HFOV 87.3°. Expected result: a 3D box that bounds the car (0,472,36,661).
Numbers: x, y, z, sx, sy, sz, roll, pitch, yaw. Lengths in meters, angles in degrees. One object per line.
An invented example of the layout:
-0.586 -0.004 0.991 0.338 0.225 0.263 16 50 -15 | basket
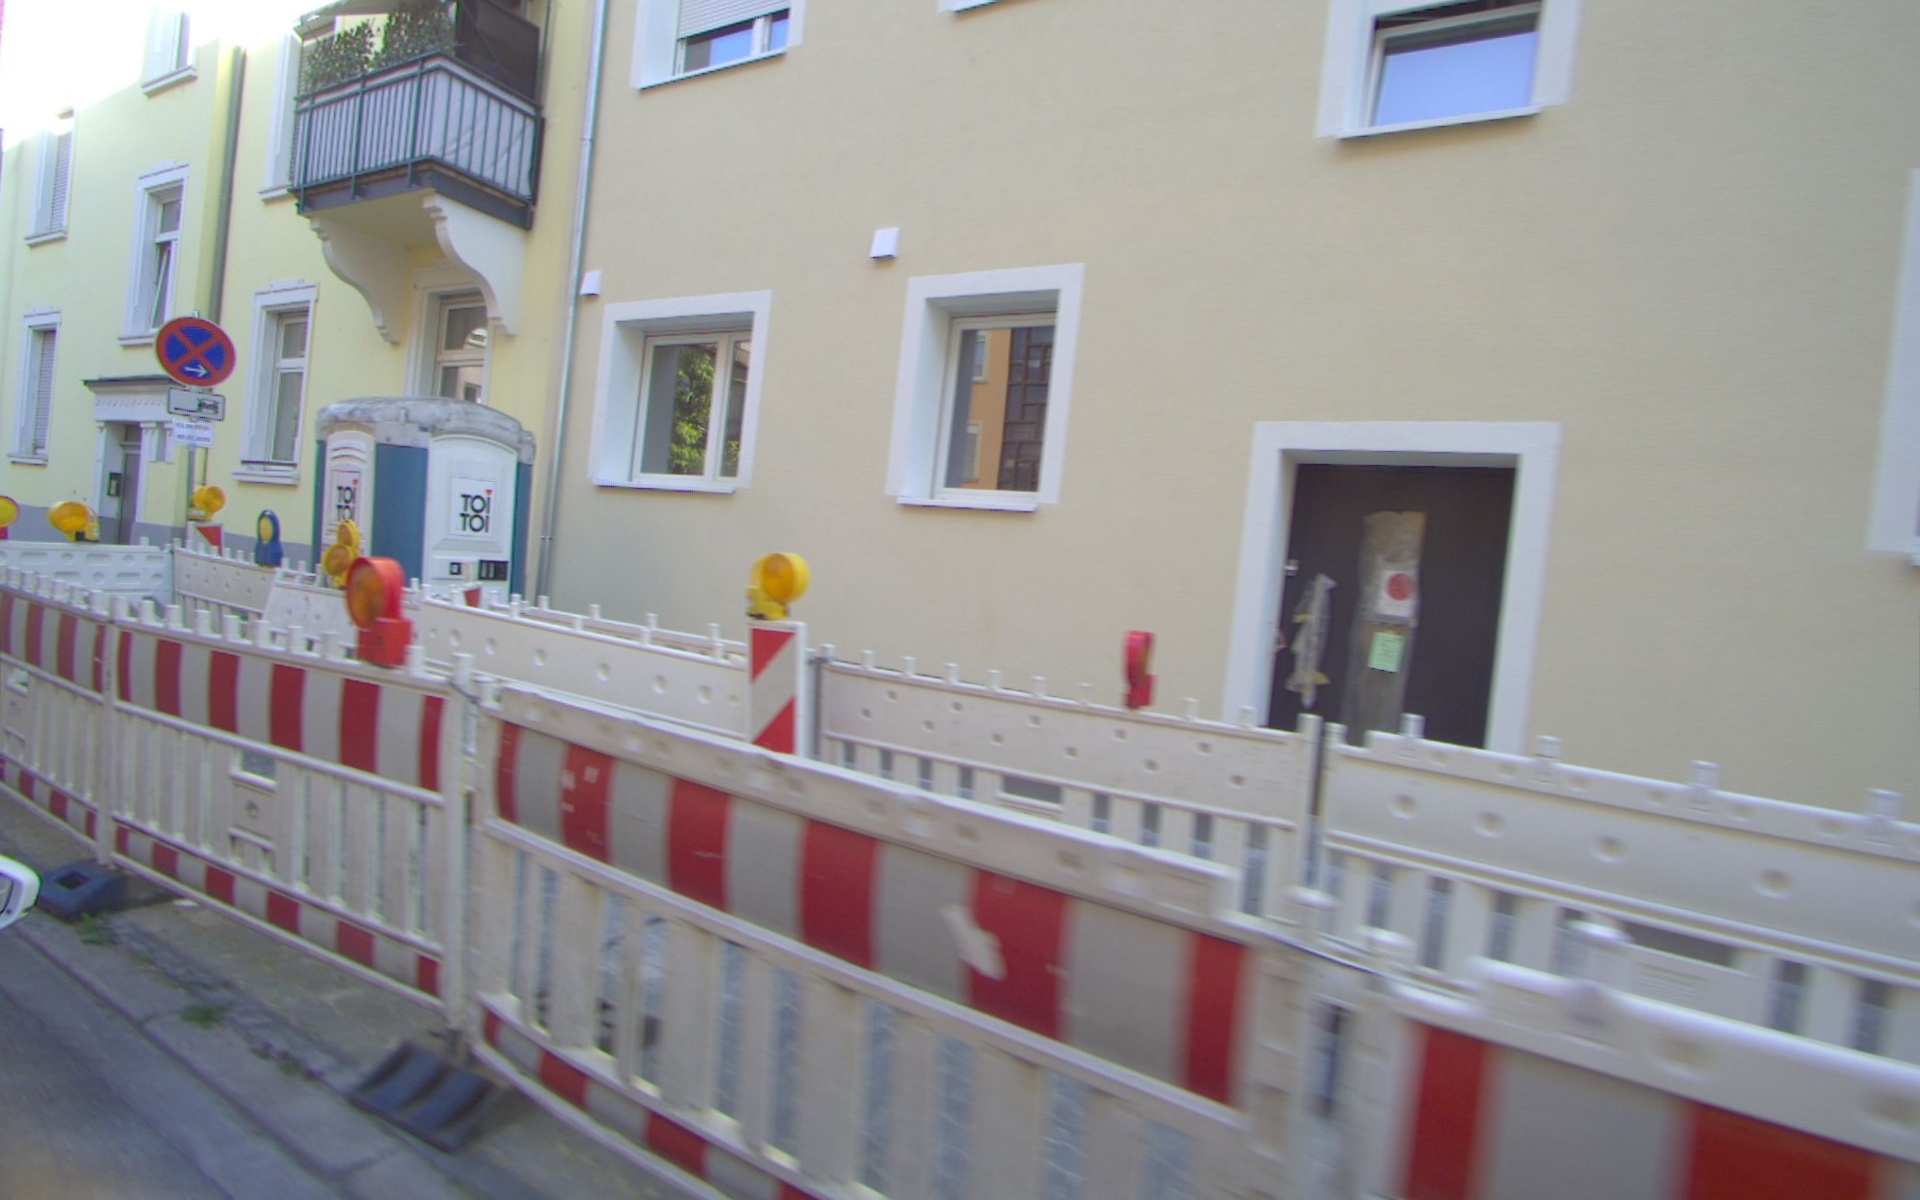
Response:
-10.057 -0.534 8.621 5.026 1.491 1.801 7 4 31 | car

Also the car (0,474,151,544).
-25.282 -2.539 27.527 1.796 1.486 4.547 5 0 25 | car
